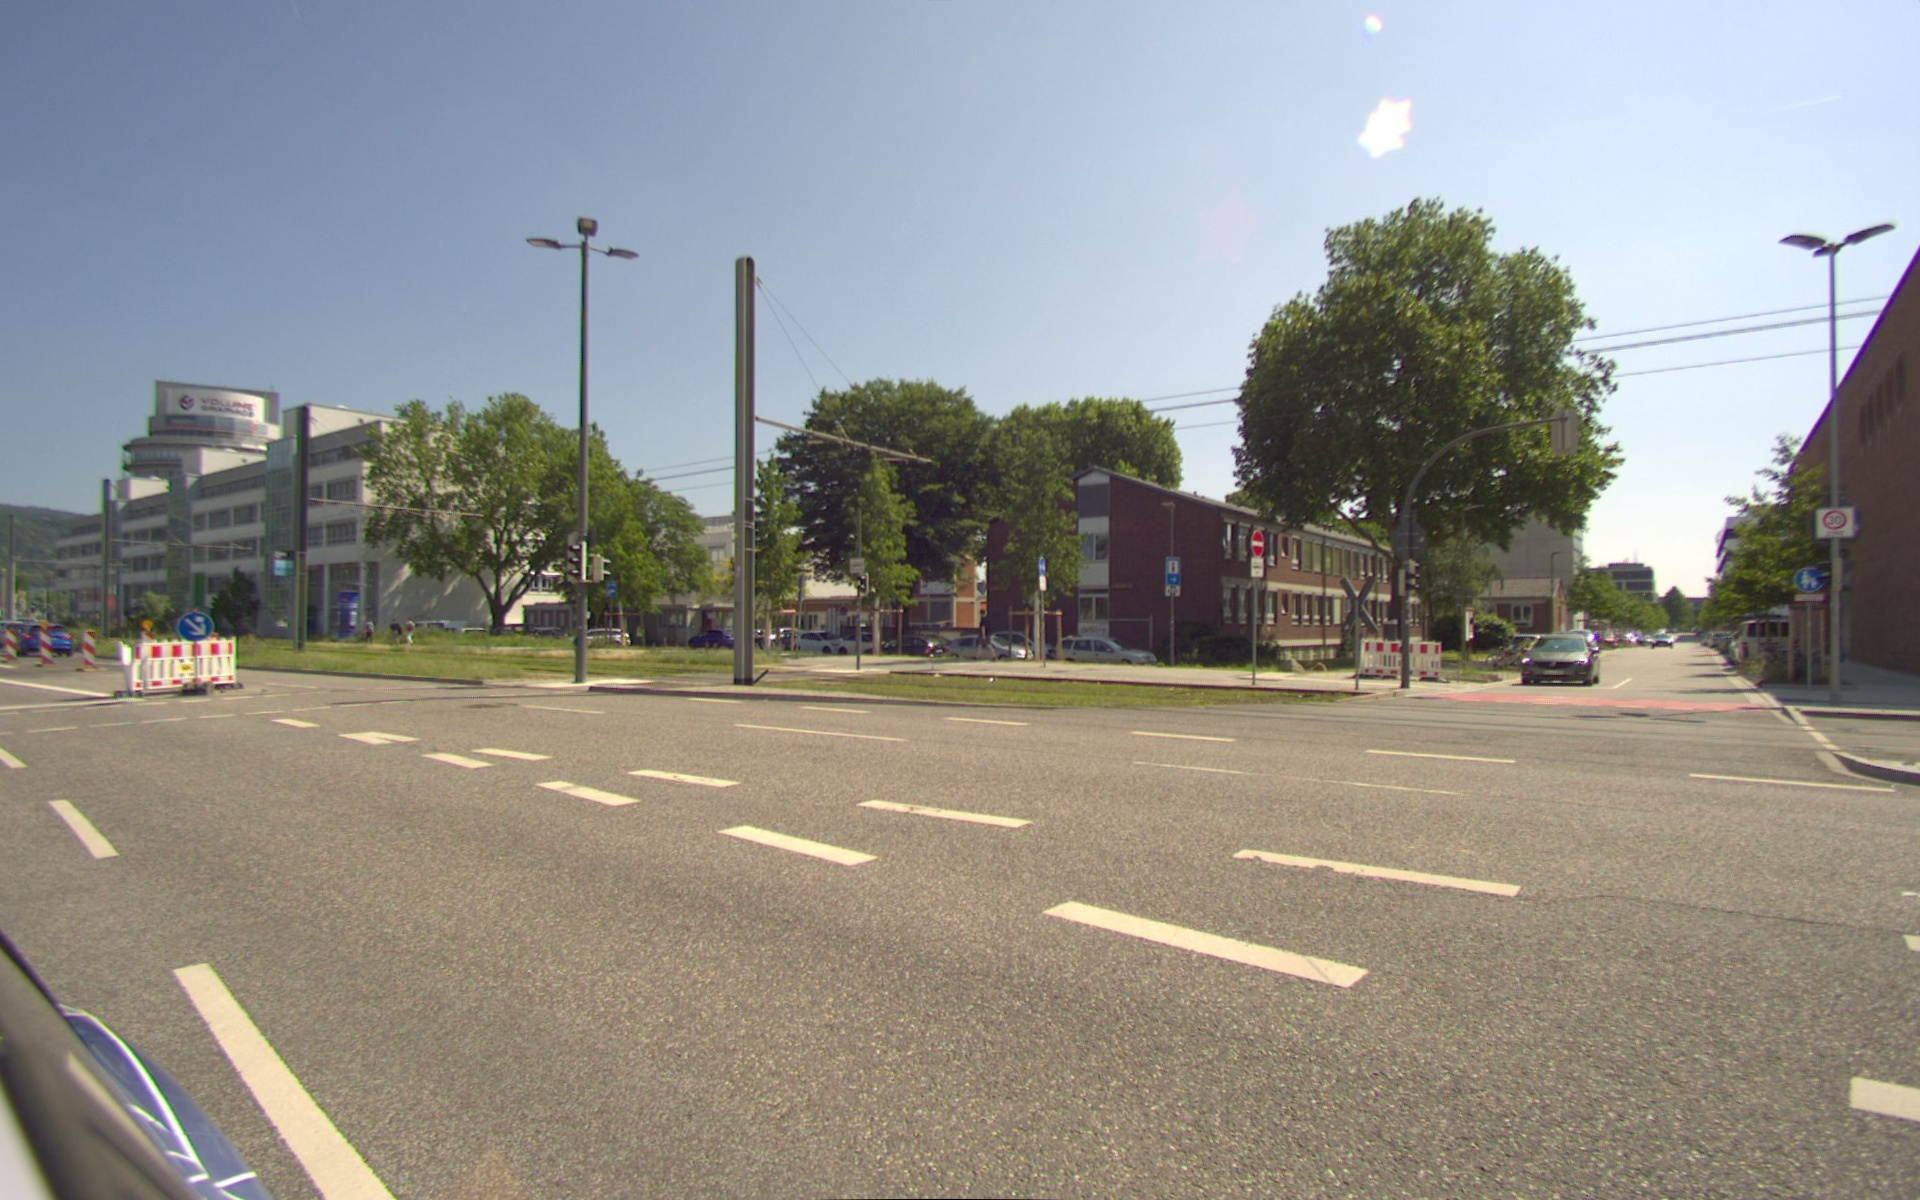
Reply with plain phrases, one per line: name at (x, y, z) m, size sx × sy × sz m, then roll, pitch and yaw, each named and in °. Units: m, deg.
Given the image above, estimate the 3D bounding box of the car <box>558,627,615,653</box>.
car at (-24.739, 2.605, 67.026) m, size 3.626 × 1.603 × 1.754 m, roll -1°, pitch 0°, yaw 33°

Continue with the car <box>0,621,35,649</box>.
car at (-51.745, 1.892, 55.117) m, size 4.295 × 1.427 × 1.563 m, roll -1°, pitch -2°, yaw 42°

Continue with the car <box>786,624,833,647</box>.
car at (-9.996, 2.336, 67.404) m, size 1.532 × 1.468 × 3.727 m, roll -1°, pitch -1°, yaw 20°

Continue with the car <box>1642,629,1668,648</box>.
car at (69.524, 3.876, 101.191) m, size 1.996 × 1.751 × 3.951 m, roll 0°, pitch 0°, yaw 36°

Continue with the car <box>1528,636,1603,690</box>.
car at (17.646, 1.791, 29.433) m, size 1.570 × 1.380 × 3.447 m, roll -1°, pitch -1°, yaw 36°

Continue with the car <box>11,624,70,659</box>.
car at (-40.211, 1.784, 44.234) m, size 4.291 × 1.438 × 1.610 m, roll -1°, pitch -3°, yaw 44°

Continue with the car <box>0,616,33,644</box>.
car at (-56.550, 1.770, 60.192) m, size 3.618 × 1.542 × 1.564 m, roll 0°, pitch -3°, yaw 41°

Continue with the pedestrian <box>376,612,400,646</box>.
pedestrian at (-34.604, 1.744, 61.226) m, size 0.909 × 2.029 × 0.973 m, roll -1°, pitch 0°, yaw 40°

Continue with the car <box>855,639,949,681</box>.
car at (-2.837, 2.844, 48.790) m, size 4.524 × 1.774 × 1.682 m, roll 0°, pitch 0°, yaw 38°

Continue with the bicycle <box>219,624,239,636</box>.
bicycle at (-76.205, 3.112, 105.436) m, size 0.438 × 1.198 × 1.629 m, roll -1°, pitch 0°, yaw 42°

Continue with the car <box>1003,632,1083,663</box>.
car at (4.107, 2.346, 50.462) m, size 3.781 × 1.468 × 1.524 m, roll -1°, pitch -1°, yaw 38°

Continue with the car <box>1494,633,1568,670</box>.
car at (24.965, 2.221, 44.180) m, size 2.000 × 1.413 × 3.944 m, roll 0°, pitch 0°, yaw 42°

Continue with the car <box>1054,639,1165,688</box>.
car at (6.163, 2.575, 41.908) m, size 4.294 × 1.774 × 1.682 m, roll 0°, pitch 0°, yaw 38°

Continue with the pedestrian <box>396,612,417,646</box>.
pedestrian at (-33.950, 1.755, 62.055) m, size 0.983 × 2.029 × 0.831 m, roll -1°, pitch -1°, yaw 40°

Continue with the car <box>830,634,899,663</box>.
car at (-5.420, 2.722, 57.312) m, size 3.777 × 1.468 × 1.526 m, roll 0°, pitch -1°, yaw 33°

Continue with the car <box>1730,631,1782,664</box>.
car at (36.325, 2.130, 46.245) m, size 1.709 × 1.331 × 3.466 m, roll 0°, pitch 0°, yaw 36°

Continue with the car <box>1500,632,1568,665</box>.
car at (27.297, 2.268, 48.087) m, size 2.000 × 1.413 × 3.944 m, roll 0°, pitch 0°, yaw 42°

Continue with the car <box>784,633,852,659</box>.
car at (-8.567, 2.753, 61.051) m, size 4.261 × 1.468 × 1.524 m, roll -1°, pitch -1°, yaw 38°

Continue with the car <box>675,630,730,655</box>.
car at (-18.153, 2.983, 71.422) m, size 3.626 × 1.603 × 1.754 m, roll -1°, pitch 0°, yaw 33°

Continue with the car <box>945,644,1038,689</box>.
car at (1.384, 2.932, 45.470) m, size 3.934 × 1.774 × 1.682 m, roll 0°, pitch 0°, yaw 38°

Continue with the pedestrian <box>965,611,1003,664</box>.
pedestrian at (0.850, 1.311, 36.164) m, size 1.107 × 1.861 × 0.802 m, roll -1°, pitch -1°, yaw 43°

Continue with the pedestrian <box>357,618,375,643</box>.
pedestrian at (-38.579, 1.977, 65.693) m, size 0.826 × 1.588 × 0.806 m, roll -1°, pitch -1°, yaw 42°

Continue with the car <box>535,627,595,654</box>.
car at (-25.171, 2.582, 64.441) m, size 3.626 × 1.603 × 1.754 m, roll -1°, pitch 0°, yaw 33°

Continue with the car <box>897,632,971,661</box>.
car at (-1.407, 2.463, 54.188) m, size 3.778 × 1.468 × 1.525 m, roll -1°, pitch -1°, yaw 35°

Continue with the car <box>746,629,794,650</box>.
car at (-13.785, 2.842, 73.246) m, size 3.339 × 1.464 × 1.523 m, roll -1°, pitch 0°, yaw 36°

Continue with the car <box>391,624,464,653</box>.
car at (-41.678, 2.955, 79.344) m, size 4.988 × 2.196 × 2.121 m, roll 1°, pitch -1°, yaw -26°

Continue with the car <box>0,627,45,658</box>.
car at (-46.601, 2.063, 50.062) m, size 3.998 × 1.427 × 1.563 m, roll -1°, pitch -2°, yaw 42°

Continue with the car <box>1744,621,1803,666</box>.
car at (32.776, 1.726, 40.846) m, size 1.691 × 1.702 × 3.510 m, roll -1°, pitch -1°, yaw 37°
